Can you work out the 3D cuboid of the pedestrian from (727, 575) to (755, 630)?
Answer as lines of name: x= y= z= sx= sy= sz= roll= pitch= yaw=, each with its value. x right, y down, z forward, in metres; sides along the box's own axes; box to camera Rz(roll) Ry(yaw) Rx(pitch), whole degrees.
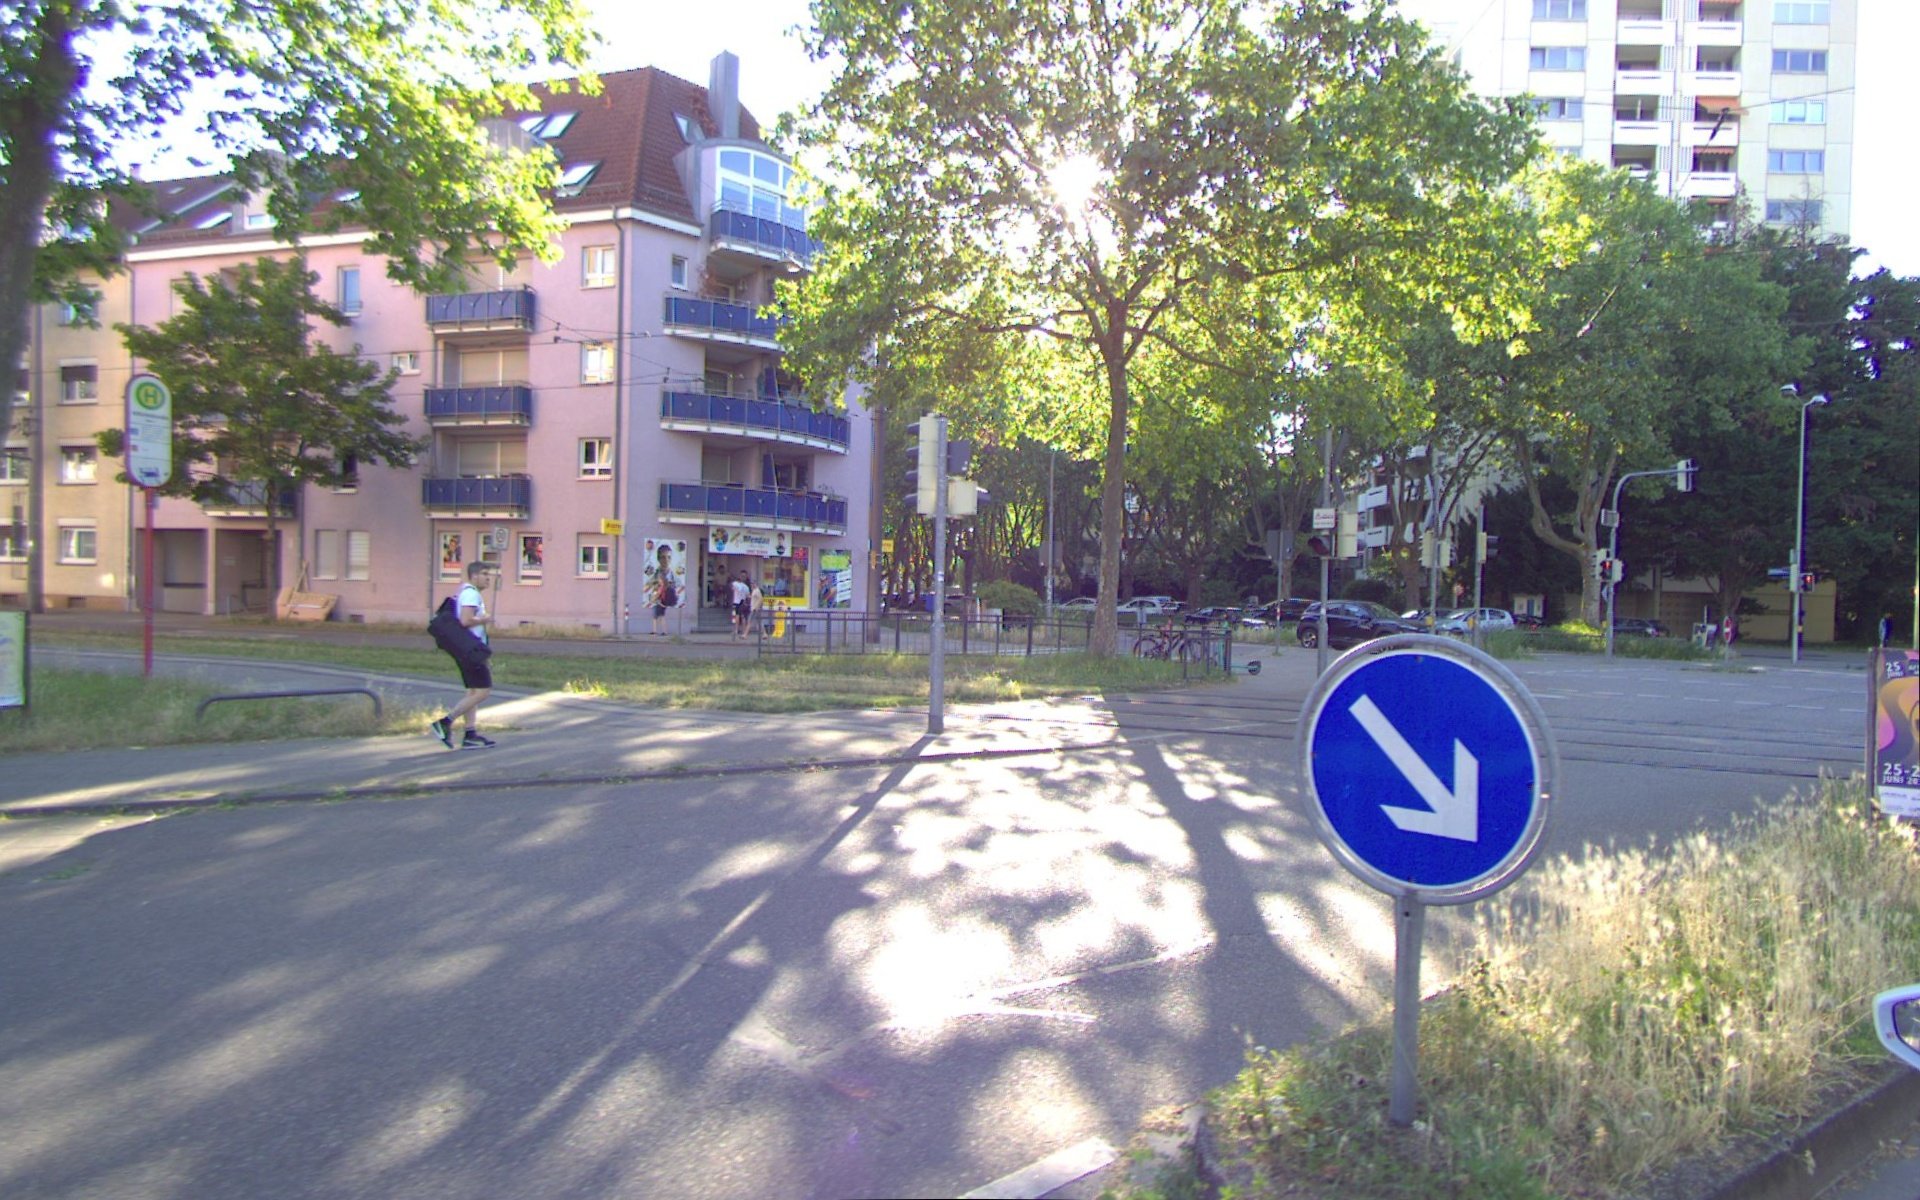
pedestrian: x=-6.849 y=0.077 z=31.385 sx=0.610 sy=1.689 sz=0.549 roll=3 pitch=1 yaw=38

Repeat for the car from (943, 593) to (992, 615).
car: x=0.647 y=0.317 z=85.018 sx=3.919 sy=1.617 sz=1.739 roll=2 pitch=1 yaw=10

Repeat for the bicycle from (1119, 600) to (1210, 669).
bicycle: x=4.240 y=0.699 z=20.889 sx=1.811 sy=1.324 sz=0.382 roll=3 pitch=1 yaw=34

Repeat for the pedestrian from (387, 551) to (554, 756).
pedestrian: x=-4.551 y=0.462 z=9.356 sx=0.889 sy=1.760 sz=1.083 roll=3 pitch=1 yaw=38

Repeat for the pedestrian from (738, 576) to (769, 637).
pedestrian: x=-5.893 y=0.182 z=28.701 sx=0.607 sy=1.689 sz=0.926 roll=2 pitch=1 yaw=2

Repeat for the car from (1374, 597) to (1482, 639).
car: x=20.756 y=0.782 z=44.626 sx=3.921 sy=1.617 sz=1.738 roll=2 pitch=1 yaw=0

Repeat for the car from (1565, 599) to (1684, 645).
car: x=29.535 y=0.942 z=44.769 sx=1.971 sy=1.798 sz=3.979 roll=2 pitch=1 yaw=-22

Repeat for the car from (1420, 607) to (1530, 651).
car: x=21.777 y=1.215 z=42.578 sx=3.732 sy=1.617 sz=1.738 roll=2 pitch=1 yaw=0

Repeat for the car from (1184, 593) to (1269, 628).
car: x=13.853 y=0.530 z=52.293 sx=3.921 sy=1.617 sz=1.738 roll=2 pitch=1 yaw=0

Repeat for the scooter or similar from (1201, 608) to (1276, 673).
scooter or similar: x=5.765 y=0.824 z=20.844 sx=1.412 sy=1.255 sz=0.414 roll=2 pitch=1 yaw=9

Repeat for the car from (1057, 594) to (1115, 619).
car: x=9.084 y=0.456 z=72.524 sx=3.921 sy=1.617 sz=1.738 roll=2 pitch=1 yaw=0

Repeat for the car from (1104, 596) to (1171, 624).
car: x=11.378 y=0.629 z=64.604 sx=3.921 sy=1.617 sz=1.738 roll=2 pitch=1 yaw=0

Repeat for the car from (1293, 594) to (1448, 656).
car: x=12.196 y=0.708 z=30.054 sx=1.722 sy=1.617 sz=3.959 roll=2 pitch=1 yaw=-36

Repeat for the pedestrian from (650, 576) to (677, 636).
pedestrian: x=-8.443 y=0.163 z=28.643 sx=0.608 sy=1.689 sz=0.550 roll=2 pitch=1 yaw=-8
